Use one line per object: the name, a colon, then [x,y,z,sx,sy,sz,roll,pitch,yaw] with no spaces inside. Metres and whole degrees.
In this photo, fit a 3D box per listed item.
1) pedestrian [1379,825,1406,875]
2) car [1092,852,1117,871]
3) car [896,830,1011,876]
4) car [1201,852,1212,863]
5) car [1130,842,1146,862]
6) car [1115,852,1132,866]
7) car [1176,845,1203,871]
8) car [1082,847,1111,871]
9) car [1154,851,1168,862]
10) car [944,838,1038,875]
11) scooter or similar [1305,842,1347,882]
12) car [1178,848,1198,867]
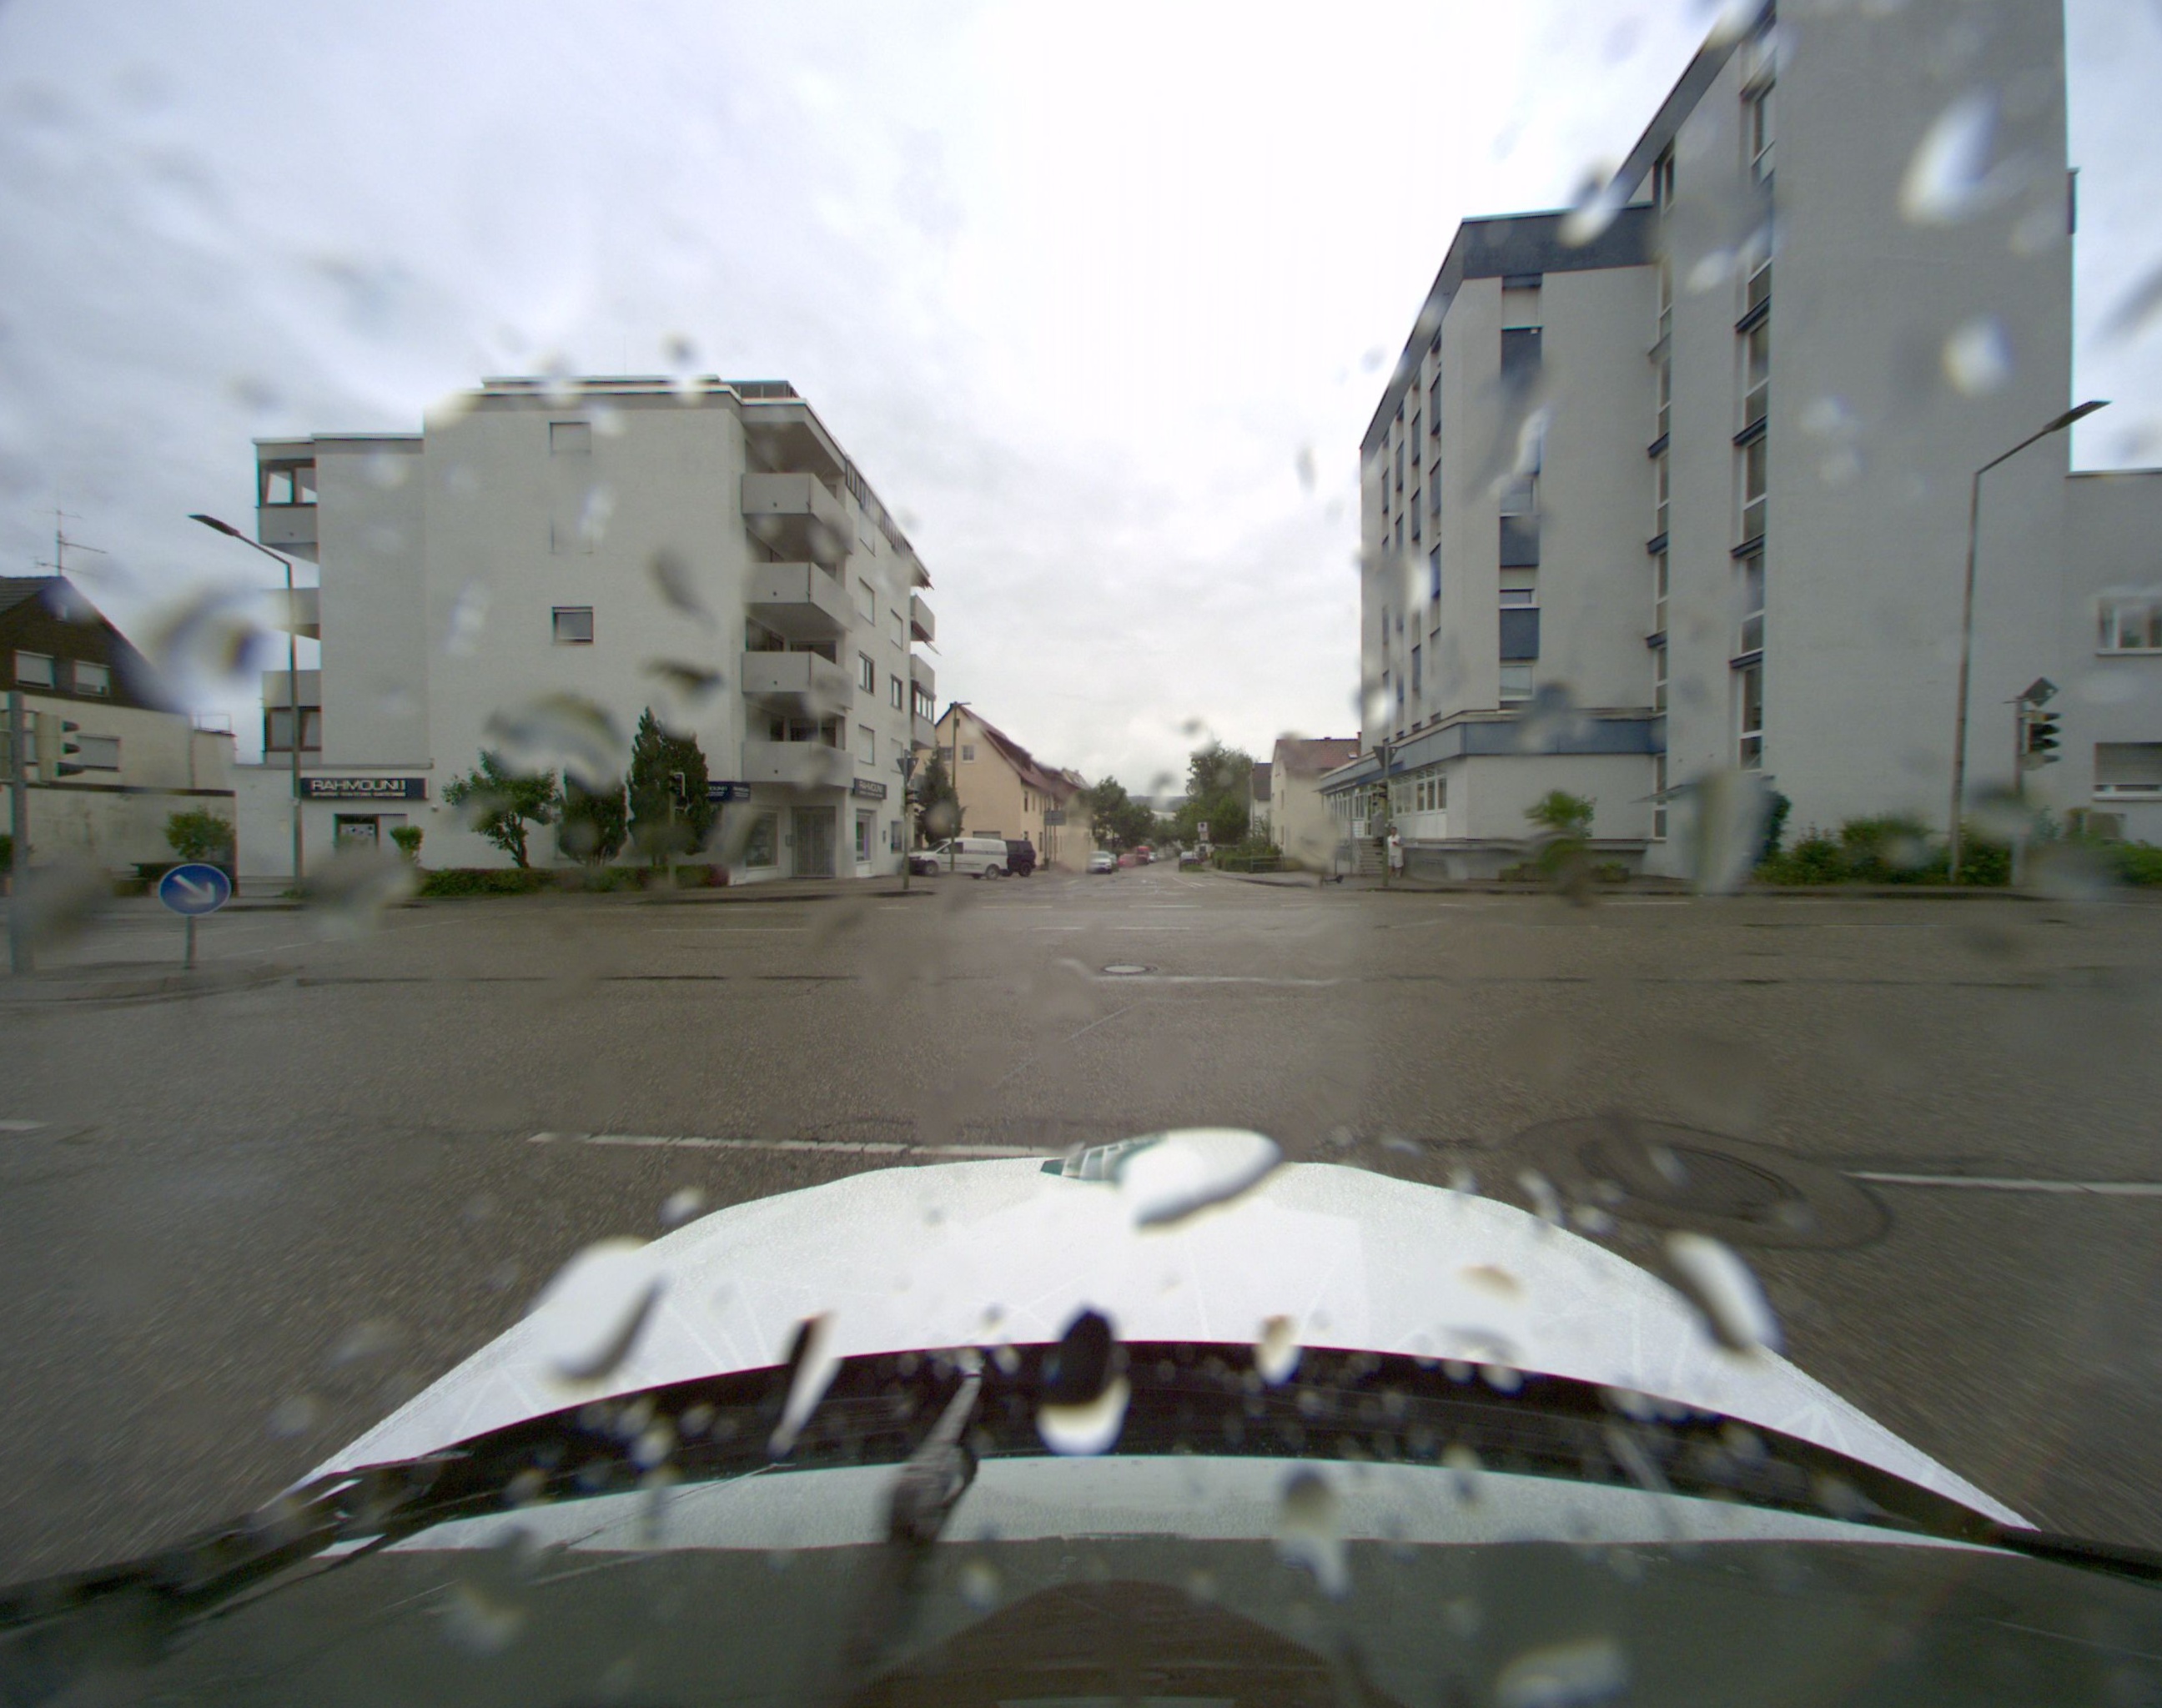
pedestrian: [10.378,-0.128,27.136,0.651,1.652,0.646,-1,-3,5]
car: [1.974,0.630,67.540,1.758,1.518,4.200,-1,-1,5]
car: [-5.656,0.011,36.370,4.747,1.779,1.754,3,-3,-34]
car: [24.360,0.715,157.779,1.981,2.014,4.011,-1,-1,10]
car: [8.101,-0.204,115.416,2.206,2.769,5.732,-1,-1,5]
car: [4.798,0.562,92.368,1.760,1.518,4.002,-1,-1,2]
car: [9.229,0.402,69.070,1.981,2.014,4.010,-1,-3,10]
car: [1.096,0.345,56.095,1.760,1.523,4.003,-1,-1,3]
car: [13.890,0.526,141.458,1.980,1.706,4.012,-1,-3,11]
car: [-4.765,0.130,43.506,4.640,1.889,1.942,-1,-1,-34]
scooter or similar: [7.843,0.267,26.124,1.056,1.228,0.800,0,-3,-5]
car: [12.045,0.379,91.210,1.981,2.014,4.011,-1,-1,10]
